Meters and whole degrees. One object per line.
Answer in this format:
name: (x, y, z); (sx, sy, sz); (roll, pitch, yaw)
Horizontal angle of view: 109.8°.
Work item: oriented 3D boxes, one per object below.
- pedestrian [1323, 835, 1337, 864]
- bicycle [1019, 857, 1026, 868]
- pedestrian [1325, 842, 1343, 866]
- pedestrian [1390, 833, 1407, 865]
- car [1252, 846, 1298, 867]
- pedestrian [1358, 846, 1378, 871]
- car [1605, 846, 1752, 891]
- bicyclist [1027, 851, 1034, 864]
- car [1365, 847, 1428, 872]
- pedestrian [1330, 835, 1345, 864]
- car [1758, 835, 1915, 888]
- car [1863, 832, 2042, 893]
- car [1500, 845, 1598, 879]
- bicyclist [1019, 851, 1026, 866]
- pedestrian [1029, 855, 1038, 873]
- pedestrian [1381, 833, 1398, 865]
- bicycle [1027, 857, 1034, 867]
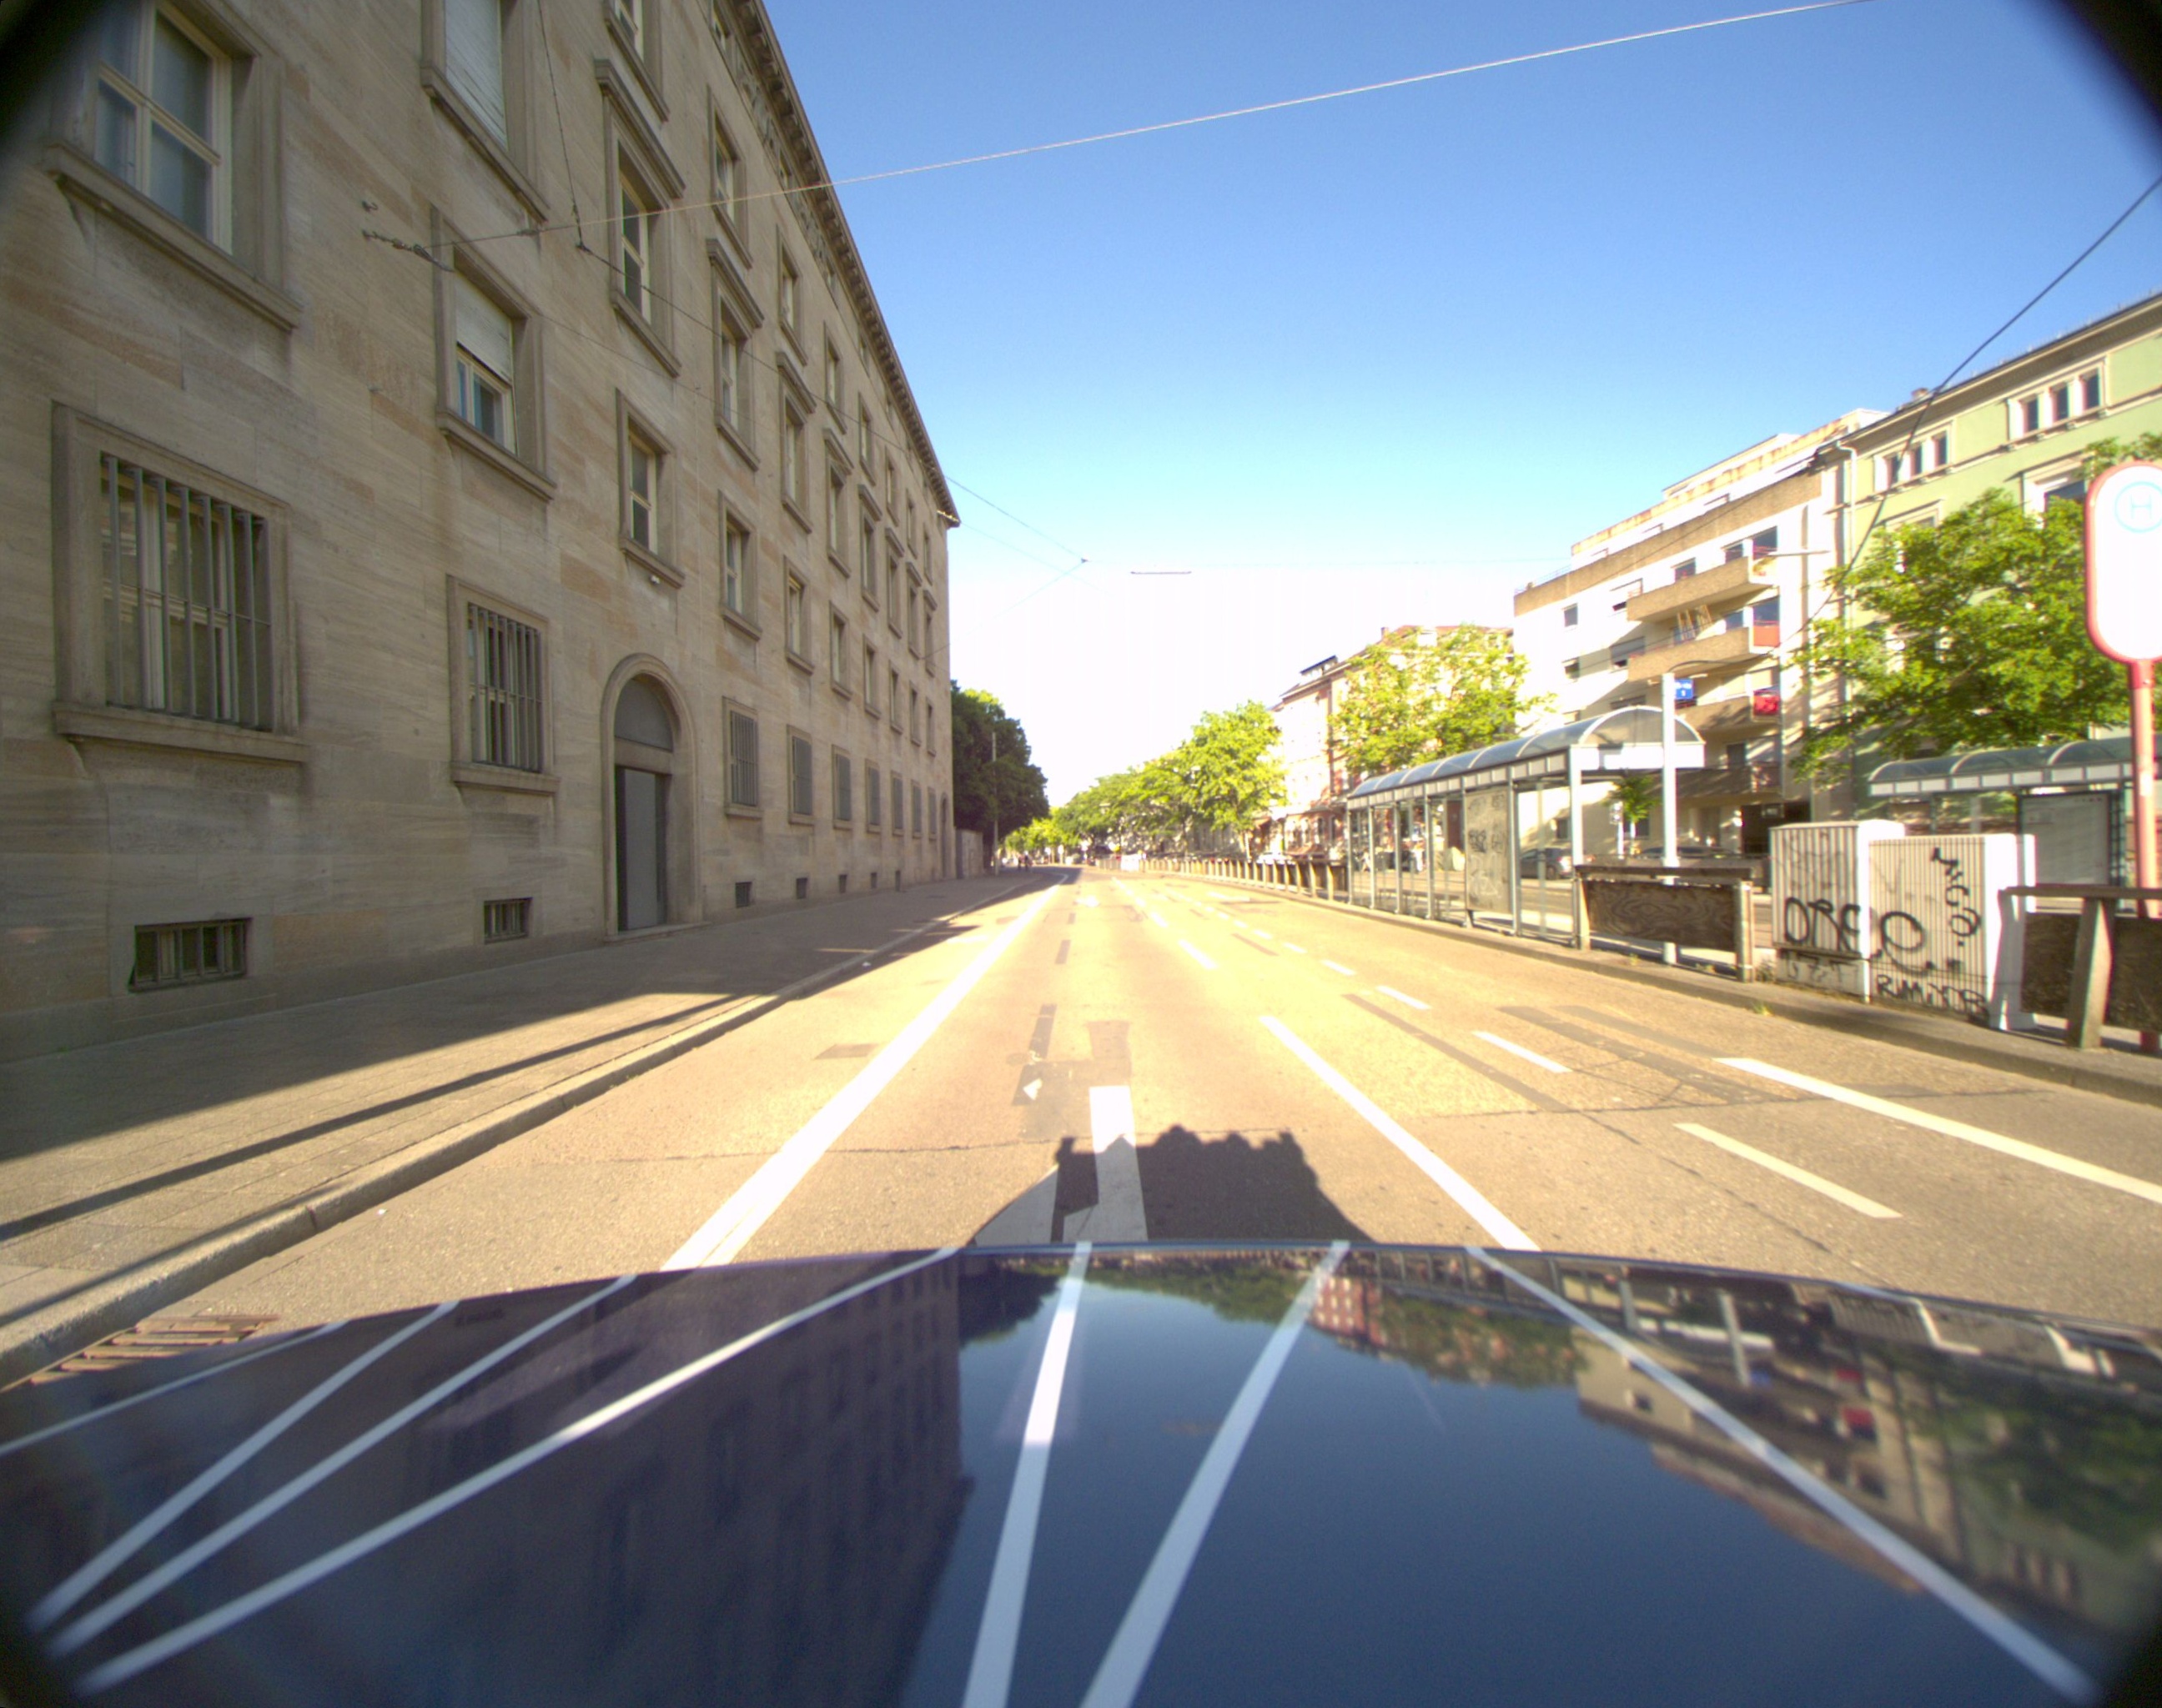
pedestrian: (19.436, -0.351, 59.275); (0.812, 2.194, 0.756); (-1, 1, -4)
bicycle: (-6.924, 1.010, 89.868); (0.625, 1.214, 1.659); (-3, 1, 1)
pedestrian: (18.430, 0.000, 55.429); (0.855, 1.710, 1.019); (-1, 1, -8)
pedestrian: (21.471, -0.342, 51.398); (0.813, 2.194, 0.756); (-1, 1, -10)
car: (16.303, 0.207, 63.615); (4.134, 1.698, 1.848); (-1, 1, -45)
pedestrian: (18.426, 0.282, 48.829); (0.870, 1.619, 0.889); (-2, 1, -42)
car: (19.821, 0.443, 25.431); (1.670, 1.400, 3.877); (0, 0, -5)
bicyclist: (-5.966, 0.375, 89.802); (0.728, 1.570, 0.775); (0, 1, 1)
car: (18.504, 0.329, 44.752); (1.609, 1.388, 3.997); (-1, 0, -9)
pedestrian: (19.460, -0.335, 57.699); (0.813, 2.194, 0.756); (-1, 1, -10)
car: (24.053, 0.217, 24.236); (4.002, 1.573, 1.761); (-1, 0, -14)
car: (24.852, 0.215, 21.696); (4.002, 1.573, 1.761); (-1, 0, -14)
car: (20.847, 0.325, 34.011); (1.654, 1.419, 3.737); (-1, 0, -11)
bicyclist: (-6.948, 0.565, 89.794); (0.625, 1.729, 0.688); (-3, 1, 1)
pedestrian: (-3.684, 0.775, 58.949); (0.548, 1.327, 0.587); (-1, 1, 7)
pedestrian: (21.257, -0.344, 52.322); (0.813, 2.194, 0.756); (-1, 1, -10)
bicycle: (-5.968, 0.899, 89.680); (0.625, 1.167, 1.566); (0, 0, 1)
